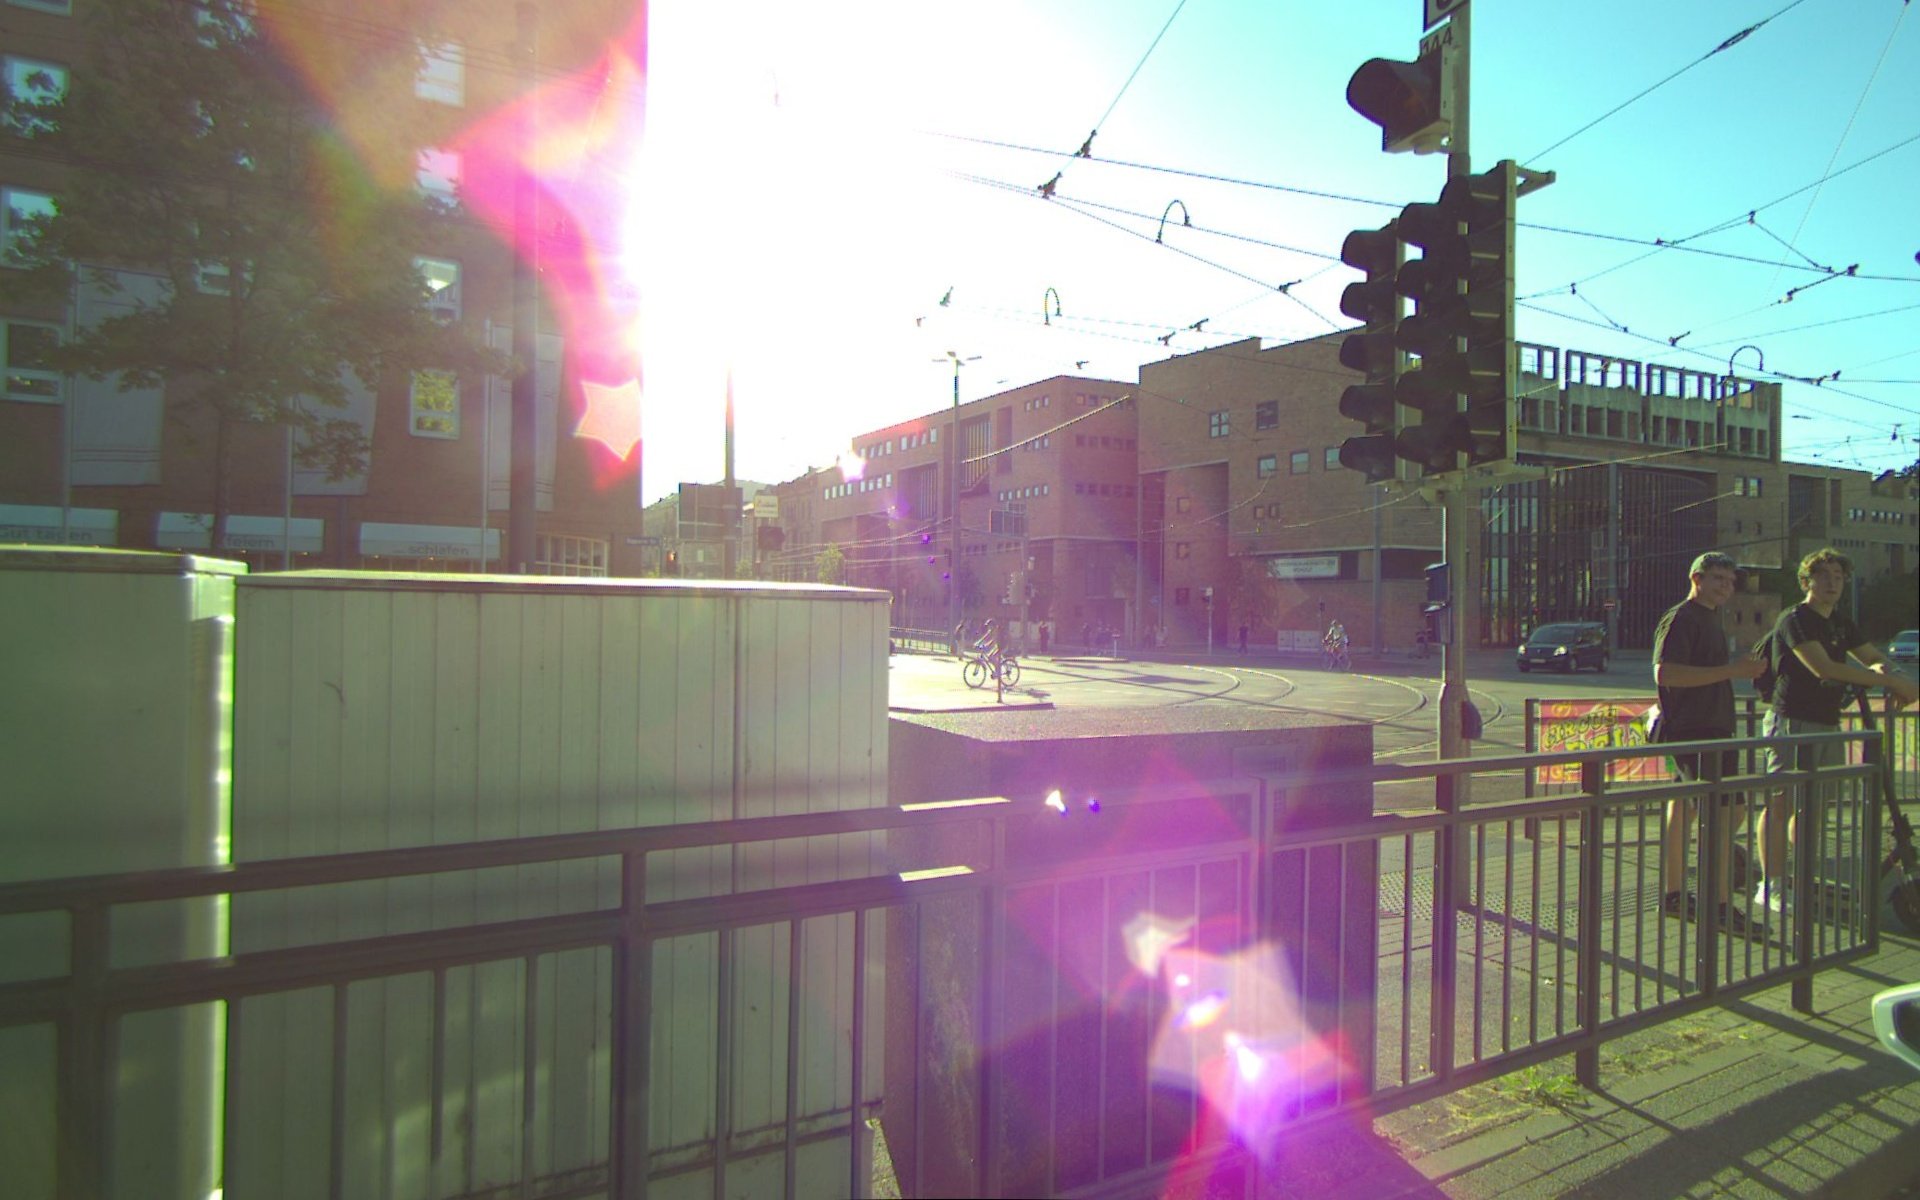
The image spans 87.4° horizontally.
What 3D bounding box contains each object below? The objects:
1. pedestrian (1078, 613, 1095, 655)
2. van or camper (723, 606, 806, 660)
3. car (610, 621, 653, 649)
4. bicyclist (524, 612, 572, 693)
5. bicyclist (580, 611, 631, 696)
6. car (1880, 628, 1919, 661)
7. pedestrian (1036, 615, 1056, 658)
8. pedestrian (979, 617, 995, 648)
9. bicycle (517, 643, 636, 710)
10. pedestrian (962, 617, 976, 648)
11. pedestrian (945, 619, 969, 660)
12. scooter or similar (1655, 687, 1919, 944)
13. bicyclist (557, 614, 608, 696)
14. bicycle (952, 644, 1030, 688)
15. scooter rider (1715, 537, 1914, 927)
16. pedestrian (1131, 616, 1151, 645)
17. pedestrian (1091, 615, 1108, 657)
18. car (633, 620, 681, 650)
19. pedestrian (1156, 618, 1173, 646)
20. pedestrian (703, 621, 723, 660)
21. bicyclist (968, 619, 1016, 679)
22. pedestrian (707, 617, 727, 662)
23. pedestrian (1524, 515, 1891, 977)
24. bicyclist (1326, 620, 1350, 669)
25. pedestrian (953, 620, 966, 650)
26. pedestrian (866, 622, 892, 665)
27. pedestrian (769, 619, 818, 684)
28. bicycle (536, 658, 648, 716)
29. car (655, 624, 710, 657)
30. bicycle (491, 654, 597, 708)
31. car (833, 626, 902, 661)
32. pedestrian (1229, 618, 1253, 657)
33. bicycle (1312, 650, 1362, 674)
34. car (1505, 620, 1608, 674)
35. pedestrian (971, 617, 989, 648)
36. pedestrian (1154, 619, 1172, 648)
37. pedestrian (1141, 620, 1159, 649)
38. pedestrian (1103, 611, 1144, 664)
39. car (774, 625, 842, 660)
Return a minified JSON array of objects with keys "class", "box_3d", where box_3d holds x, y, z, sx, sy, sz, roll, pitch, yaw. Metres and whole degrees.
[{"class":"pedestrian","box_3d":[6.247,1.682,49.550,0.603,2.040,0.731,0,-1,30]},{"class":"van or camper","box_3d":[-9.405,1.564,48.023,1.981,2.451,4.980,1,-2,-36]},{"class":"car","box_3d":[-21.295,2.252,64.969,1.738,1.750,3.965,1,-2,-32]},{"class":"bicyclist","box_3d":[-8.322,1.040,20.295,0.751,1.595,0.656,1,-1,-37]},{"class":"bicyclist","box_3d":[-6.760,1.010,19.154,0.752,1.590,0.656,1,-2,-37]},{"class":"car","box_3d":[48.945,2.280,51.727,3.962,1.598,1.610,1,-2,-36]},{"class":"pedestrian","box_3d":[4.044,1.716,47.311,0.605,2.040,0.729,-1,-1,41]},{"class":"pedestrian","box_3d":[1.781,2.163,66.287,0.742,2.010,0.780,1,-1,-32]},{"class":"bicycle","box_3d":[-7.603,1.491,19.961,2.091,1.157,0.680,-1,0,-37]},{"class":"pedestrian","box_3d":[0.620,2.183,67.707,0.644,2.040,0.780,1,-1,-32]},{"class":"pedestrian","box_3d":[-0.129,1.737,43.934,0.860,1.775,0.670,1,-2,-39]},{"class":"scooter or similar","box_3d":[4.445,1.041,5.239,0.639,1.095,1.199,1,-1,-25]},{"class":"bicyclist","box_3d":[-7.528,1.077,20.019,0.752,1.581,0.677,-1,0,-37]},{"class":"bicycle","box_3d":[0.807,1.663,25.648,1.992,1.064,0.647,1,-1,-35]},{"class":"scooter rider","box_3d":[4.465,0.654,5.258,0.670,1.877,0.564,3,-2,-25]},{"class":"pedestrian","box_3d":[12.984,2.189,72.023,0.902,2.040,1.151,1,-1,-34]},{"class":"pedestrian","box_3d":[6.857,1.766,49.287,0.603,2.040,0.731,0,-1,30]},{"class":"car","box_3d":[-18.143,2.083,60.014,1.738,1.750,3.965,1,-2,-32]},{"class":"pedestrian","box_3d":[15.104,2.353,74.183,0.841,2.079,1.001,1,-1,-32]},{"class":"pedestrian","box_3d":[-11.727,1.903,47.688,0.597,1.843,0.848,1,-1,-38]},{"class":"bicyclist","box_3d":[0.823,1.246,25.659,1.022,1.494,0.649,2,-1,-35]},{"class":"pedestrian","box_3d":[-11.051,1.778,45.723,0.597,2.040,0.848,1,-1,-38]},{"class":"pedestrian","box_3d":[3.559,0.620,4.870,0.843,1.908,1.164,1,-1,-25]},{"class":"bicyclist","box_3d":[12.910,1.521,34.307,0.509,1.647,0.583,1,-1,-34]},{"class":"pedestrian","box_3d":[-0.040,2.351,67.782,0.607,2.040,0.727,1,-1,-32]},{"class":"pedestrian","box_3d":[-3.377,1.805,41.990,0.857,1.775,0.672,1,-1,-30]},{"class":"pedestrian","box_3d":[-4.791,1.461,28.920,0.939,1.822,0.992,2,0,24]},{"class":"bicycle","box_3d":[-6.944,1.617,19.007,1.884,1.011,0.688,1,-2,-37]},{"class":"car","box_3d":[-15.224,2.183,54.975,1.739,1.750,3.963,1,-2,-33]},{"class":"bicycle","box_3d":[-8.376,1.604,20.263,1.884,1.011,0.648,1,-2,-37]},{"class":"car","box_3d":[-4.803,2.232,51.809,1.978,1.709,3.965,1,-2,-33]},{"class":"pedestrian","box_3d":[14.191,1.890,50.694,0.866,1.927,0.718,2,0,-33]},{"class":"bicycle","box_3d":[12.866,2.097,34.281,1.948,0.781,0.586,1,-2,-35]},{"class":"car","box_3d":[21.560,1.652,36.265,3.964,1.786,1.854,1,0,-37]},{"class":"pedestrian","box_3d":[1.326,2.147,65.861,0.917,2.010,0.780,1,-1,-32]},{"class":"pedestrian","box_3d":[14.562,2.418,72.114,0.841,2.079,1.001,1,-1,-32]},{"class":"pedestrian","box_3d":[13.853,2.494,73.379,0.841,2.079,1.001,1,-1,-32]},{"class":"pedestrian","box_3d":[6.472,1.469,39.874,1.193,2.040,1.028,2,0,-30]},{"class":"car","box_3d":[-7.794,2.138,51.184,1.978,1.709,3.965,1,-2,-33]}]
